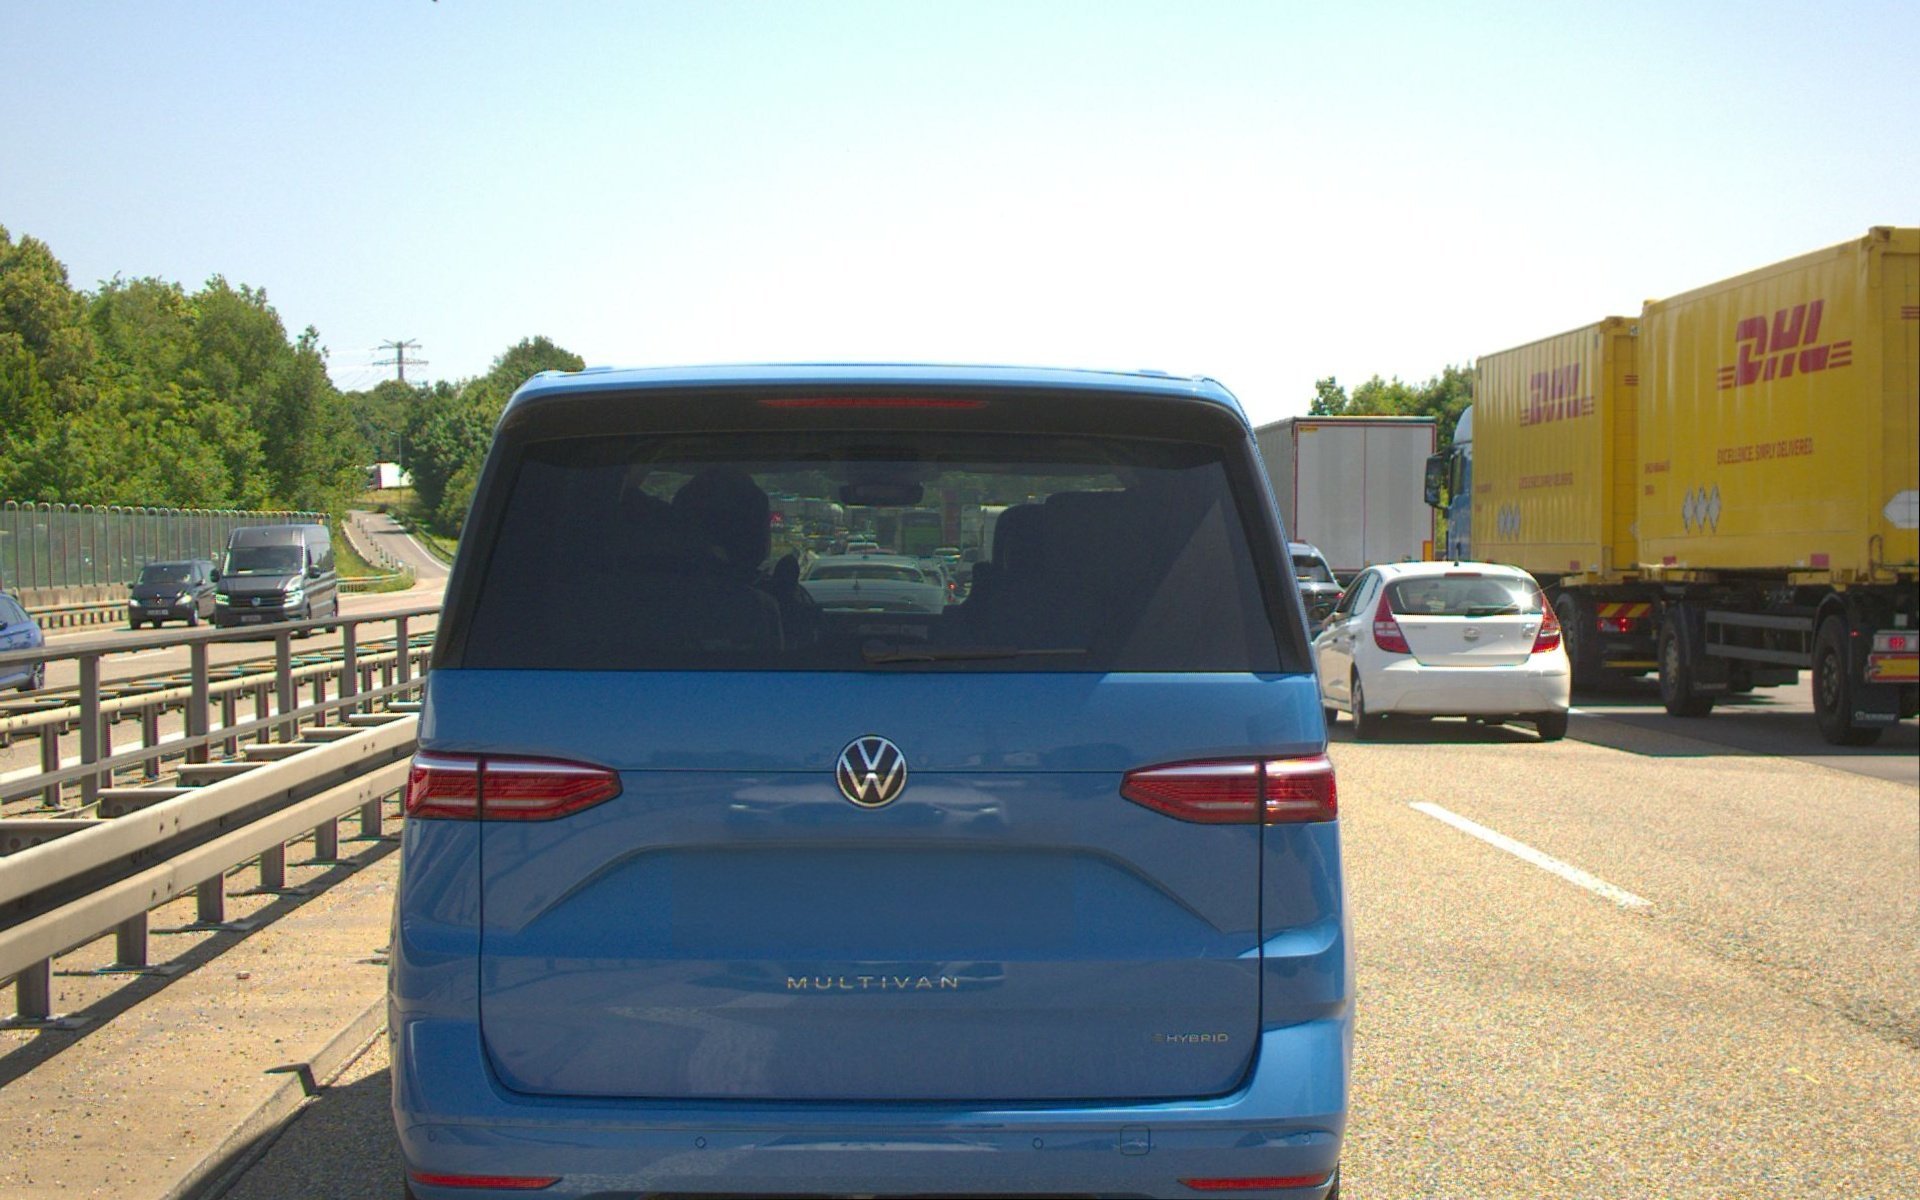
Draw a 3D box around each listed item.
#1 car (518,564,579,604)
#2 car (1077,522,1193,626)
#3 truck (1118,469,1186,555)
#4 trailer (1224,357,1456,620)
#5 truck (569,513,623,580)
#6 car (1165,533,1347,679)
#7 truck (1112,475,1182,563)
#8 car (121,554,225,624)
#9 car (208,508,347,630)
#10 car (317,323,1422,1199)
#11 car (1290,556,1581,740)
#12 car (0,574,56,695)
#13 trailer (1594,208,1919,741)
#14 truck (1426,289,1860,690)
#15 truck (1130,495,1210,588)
[{"bbox_3d":[-16.829,-0.662,140.783,1.993,1.539,4.386,-2,1,-1],"label":"car"},{"bbox_3d":[3.375,-0.508,67.043,1.962,1.929,3.932,1,0,-1],"label":"car"},{"bbox_3d":[6.026,-2.751,108.245,1.797,2.587,4.306,1,0,-1],"label":"truck"},{"bbox_3d":[7.139,-2.008,66.237,3.026,4.595,10.925,1,0,-1],"label":"trailer"},{"bbox_3d":[-23.161,-3.390,219.074,2.672,4.171,6.287,-1,0,1],"label":"truck"},{"bbox_3d":[3.579,0.059,42.221,1.815,1.673,3.932,1,0,-1],"label":"car"},{"bbox_3d":[5.559,-2.391,102.664,1.742,2.540,4.210,1,0,-1],"label":"truck"},{"bbox_3d":[-22.392,-0.322,97.965,1.957,1.899,4.951,-2,0,-3],"label":"car"},{"bbox_3d":[-15.491,-0.702,78.382,1.993,2.573,6.651,-2,0,-2],"label":"car"},{"bbox_3d":[-0.202,0.448,8.078,1.930,1.867,4.000,1,0,-1],"label":"car"},{"bbox_3d":[4.030,0.375,29.724,1.815,1.465,3.932,1,0,-2],"label":"car"},{"bbox_3d":[-12.889,0.451,43.387,1.772,1.486,4.605,-1,1,-1],"label":"car"},{"bbox_3d":[8.069,-0.971,30.845,2.682,4.074,8.981,1,0,-2],"label":"trailer"},{"bbox_3d":[7.688,-1.166,40.268,2.699,4.074,9.941,1,0,-2],"label":"truck"},{"bbox_3d":[5.725,-1.575,94.111,1.798,2.441,4.504,1,0,-1],"label":"truck"}]
